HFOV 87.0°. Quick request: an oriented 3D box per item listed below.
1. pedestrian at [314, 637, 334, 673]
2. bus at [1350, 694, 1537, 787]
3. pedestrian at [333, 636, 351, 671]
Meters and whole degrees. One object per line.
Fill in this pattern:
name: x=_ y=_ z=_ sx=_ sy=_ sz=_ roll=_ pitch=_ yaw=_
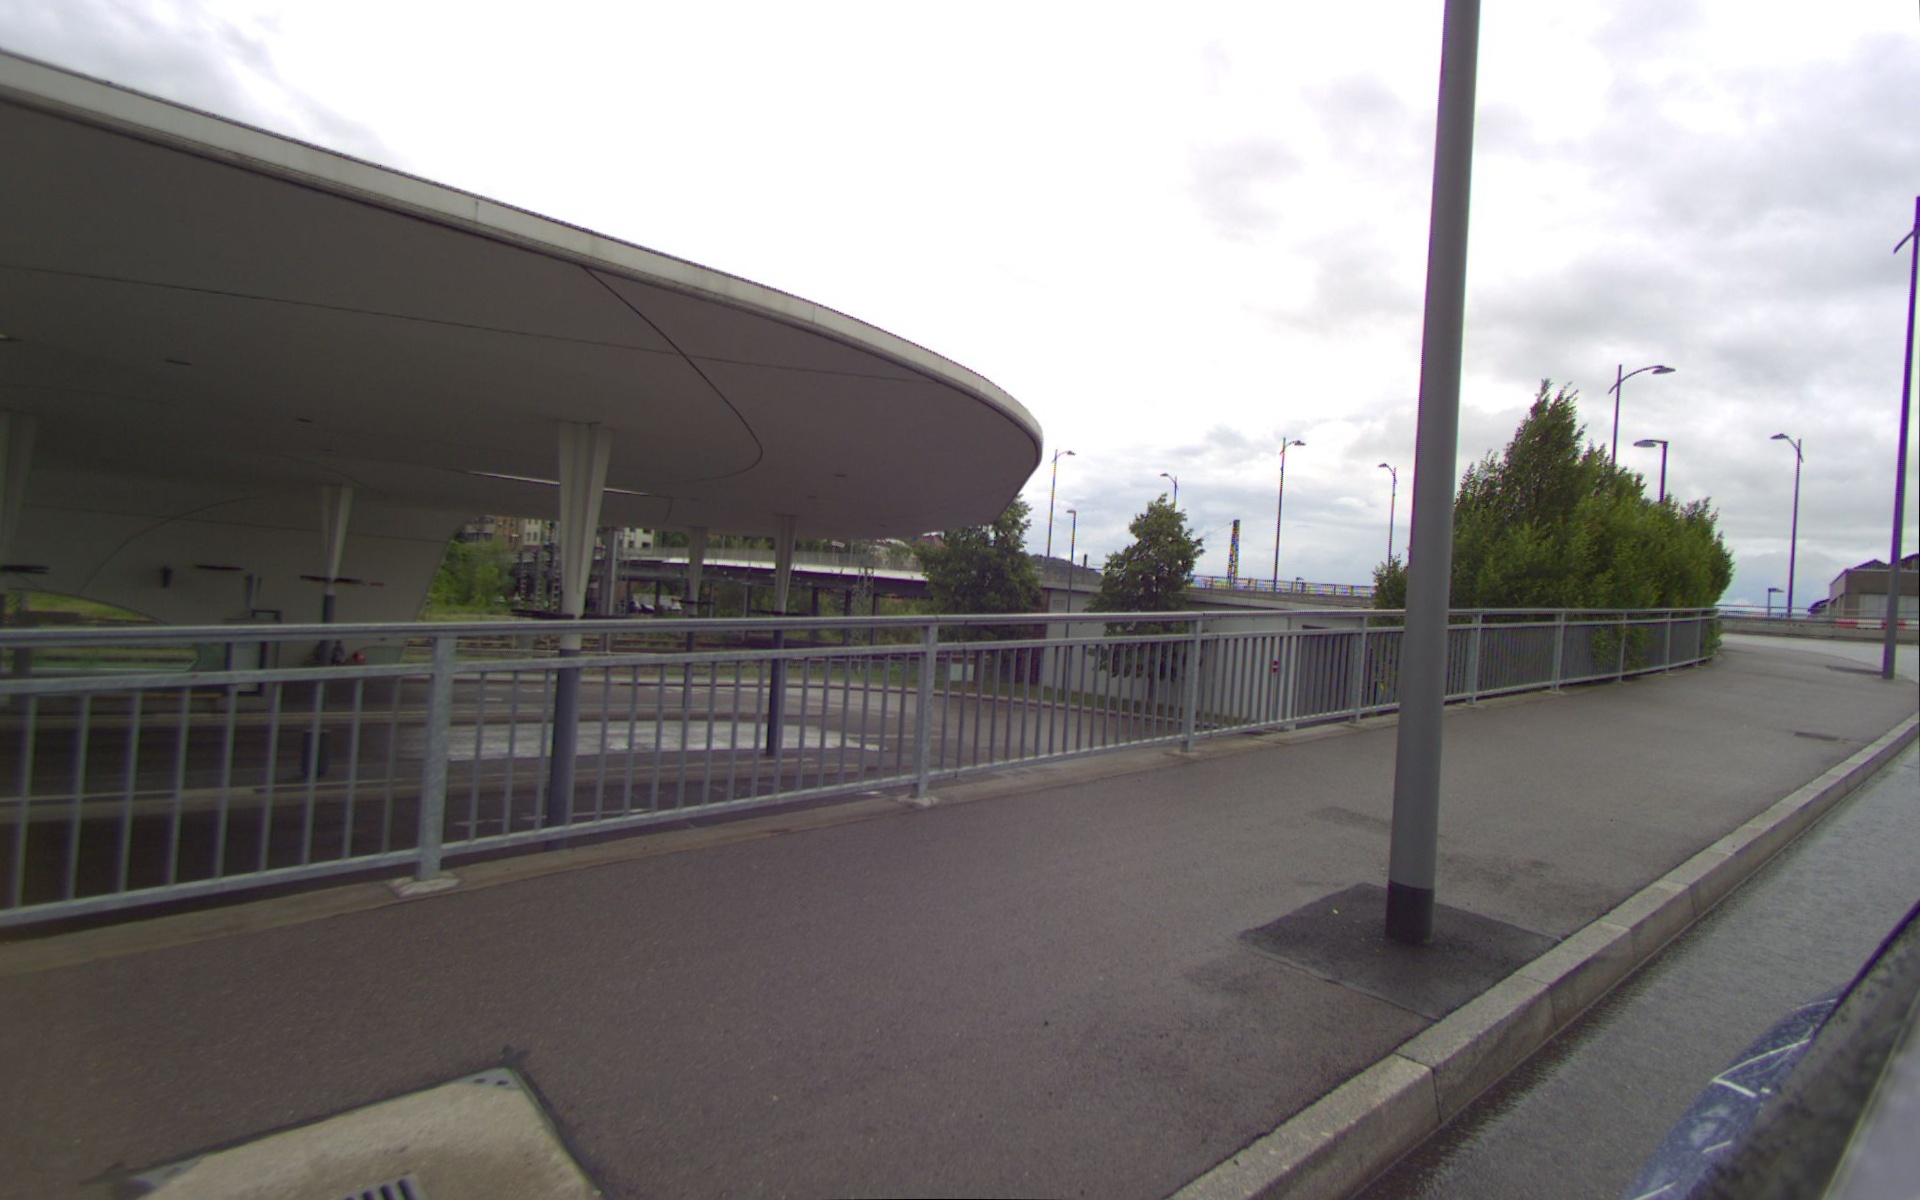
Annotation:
pedestrian: x=-24.093 y=2.076 z=38.326 sx=0.575 sy=1.286 sz=0.568 roll=0 pitch=0 yaw=-38
bus: x=24.450 y=6.833 z=50.759 sx=11.907 sy=3.298 sz=2.798 roll=-1 pitch=0 yaw=-34
pedestrian: x=-23.658 y=2.044 z=38.749 sx=0.536 sy=1.296 sz=0.568 roll=0 pitch=0 yaw=-38
